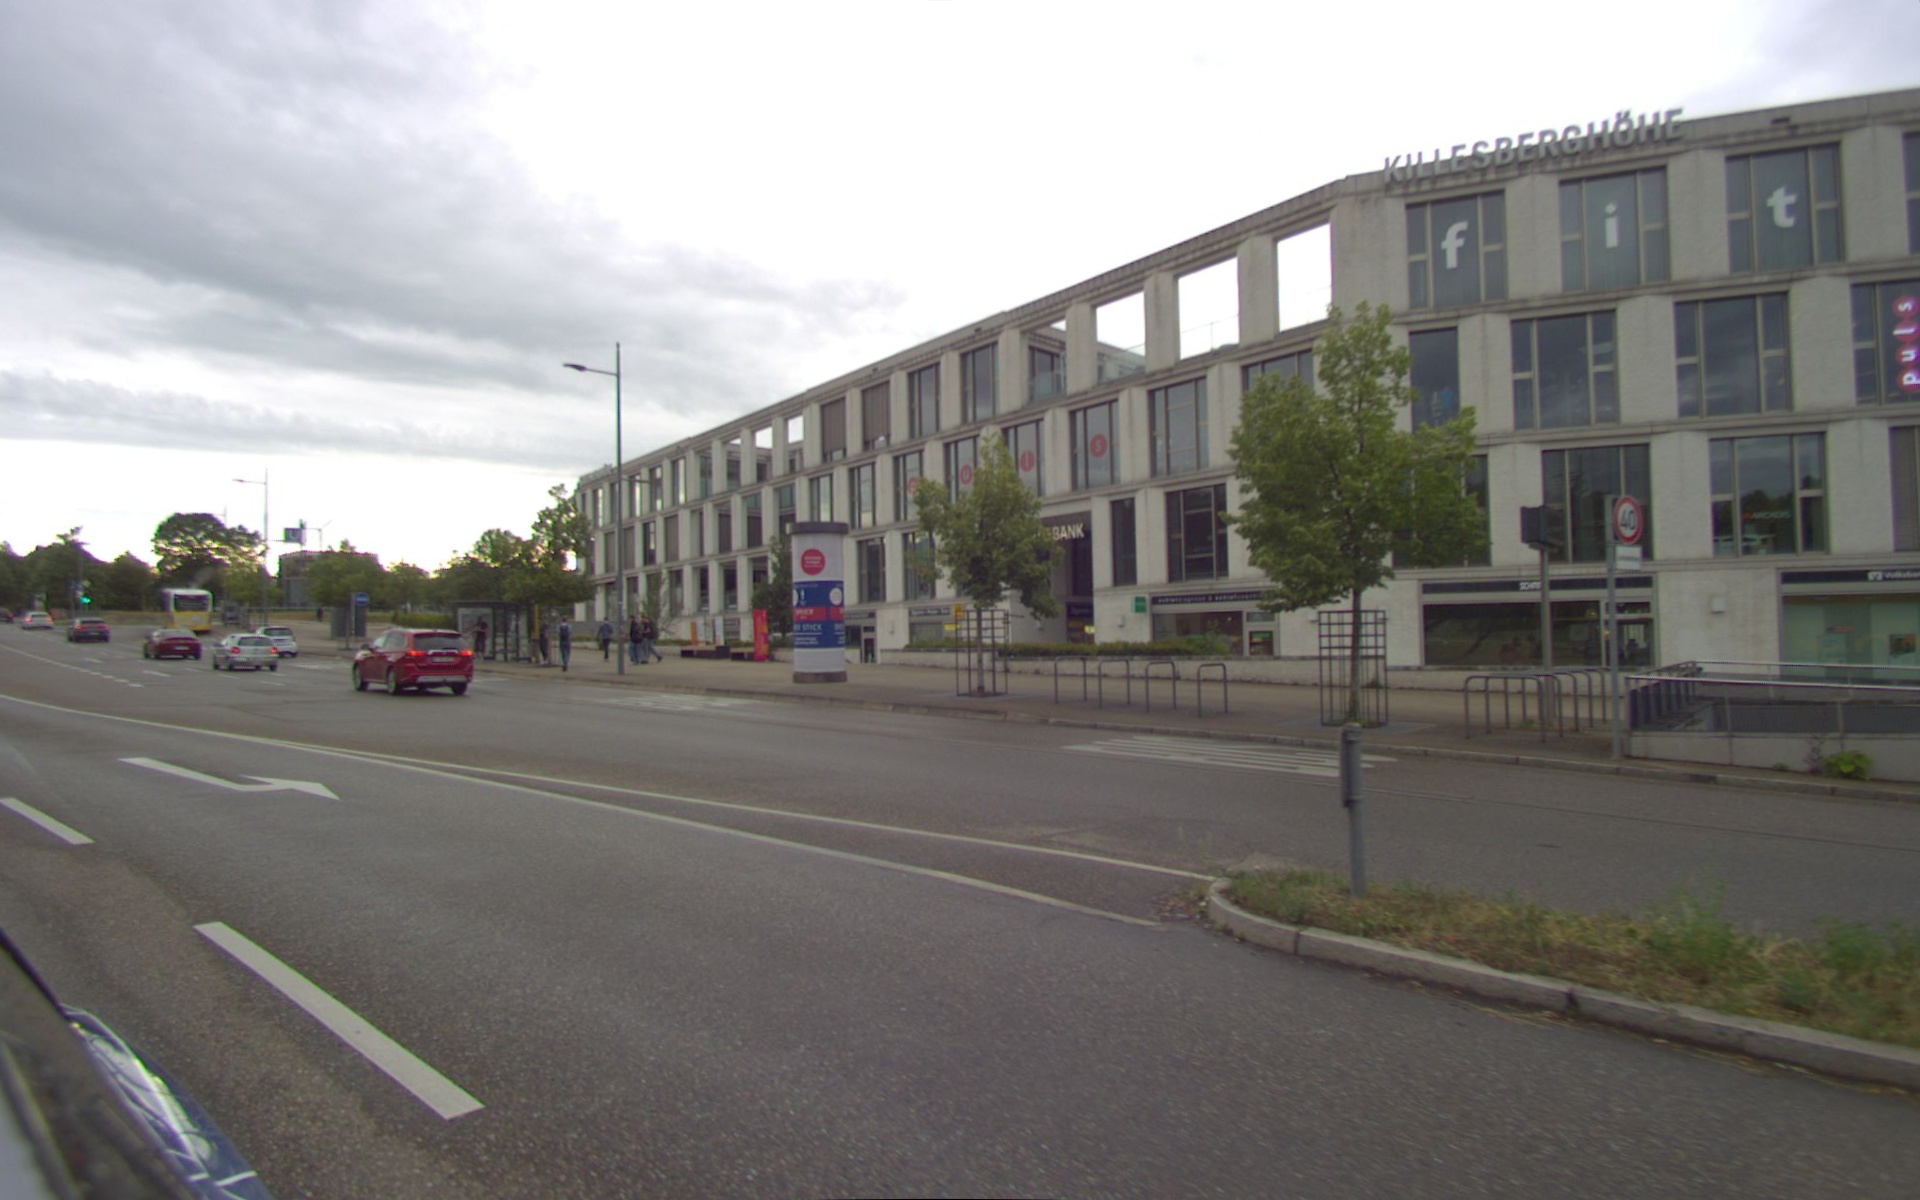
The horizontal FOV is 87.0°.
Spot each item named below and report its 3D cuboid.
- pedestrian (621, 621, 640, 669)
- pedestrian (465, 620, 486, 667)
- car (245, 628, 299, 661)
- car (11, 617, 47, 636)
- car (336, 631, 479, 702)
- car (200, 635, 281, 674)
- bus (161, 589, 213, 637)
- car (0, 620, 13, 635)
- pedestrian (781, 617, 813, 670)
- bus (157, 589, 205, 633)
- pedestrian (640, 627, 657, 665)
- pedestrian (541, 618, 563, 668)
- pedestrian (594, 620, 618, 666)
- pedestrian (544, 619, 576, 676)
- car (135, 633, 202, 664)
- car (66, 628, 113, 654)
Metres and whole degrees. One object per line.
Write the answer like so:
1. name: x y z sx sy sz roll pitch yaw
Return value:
1. pedestrian: -12.128 1.658 37.239 0.621 1.738 0.421 -1 -2 43
2. pedestrian: -19.285 1.710 40.301 0.755 1.856 0.502 -1 -2 42
3. car: -34.560 2.212 50.817 2.972 1.519 1.596 0 0 43
4. car: -78.678 2.252 85.512 4.176 1.441 1.852 0 -4 43
5. car: -14.576 1.699 26.576 4.737 1.696 1.833 -2 -5 43
6. car: -27.826 2.087 39.099 3.878 1.427 1.743 -2 -5 43
7. bus: -60.018 0.900 78.500 2.786 3.498 8.245 -1 1 -40
8. car: -95.855 2.744 100.835 3.867 1.473 1.826 0 -2 43
9. pedestrian: -5.312 1.421 32.961 0.911 1.703 0.494 -1 -1 26
10. bus: -65.889 0.806 85.481 2.786 3.498 9.991 -1 1 -40
11. pedestrian: -11.876 1.746 38.599 0.510 1.462 0.421 -1 -2 43
12. pedestrian: -15.447 1.605 38.319 0.606 1.870 0.574 -1 -2 40
13. pedestrian: -14.039 1.693 40.154 0.591 1.775 0.857 1 -2 -45
14. pedestrian: -13.316 1.562 33.701 0.747 1.856 0.744 -1 -2 45
15. car: -38.404 2.349 49.091 4.465 1.427 1.811 -2 -5 43
16. car: -58.637 2.729 68.145 4.593 1.584 1.811 0 -4 43
